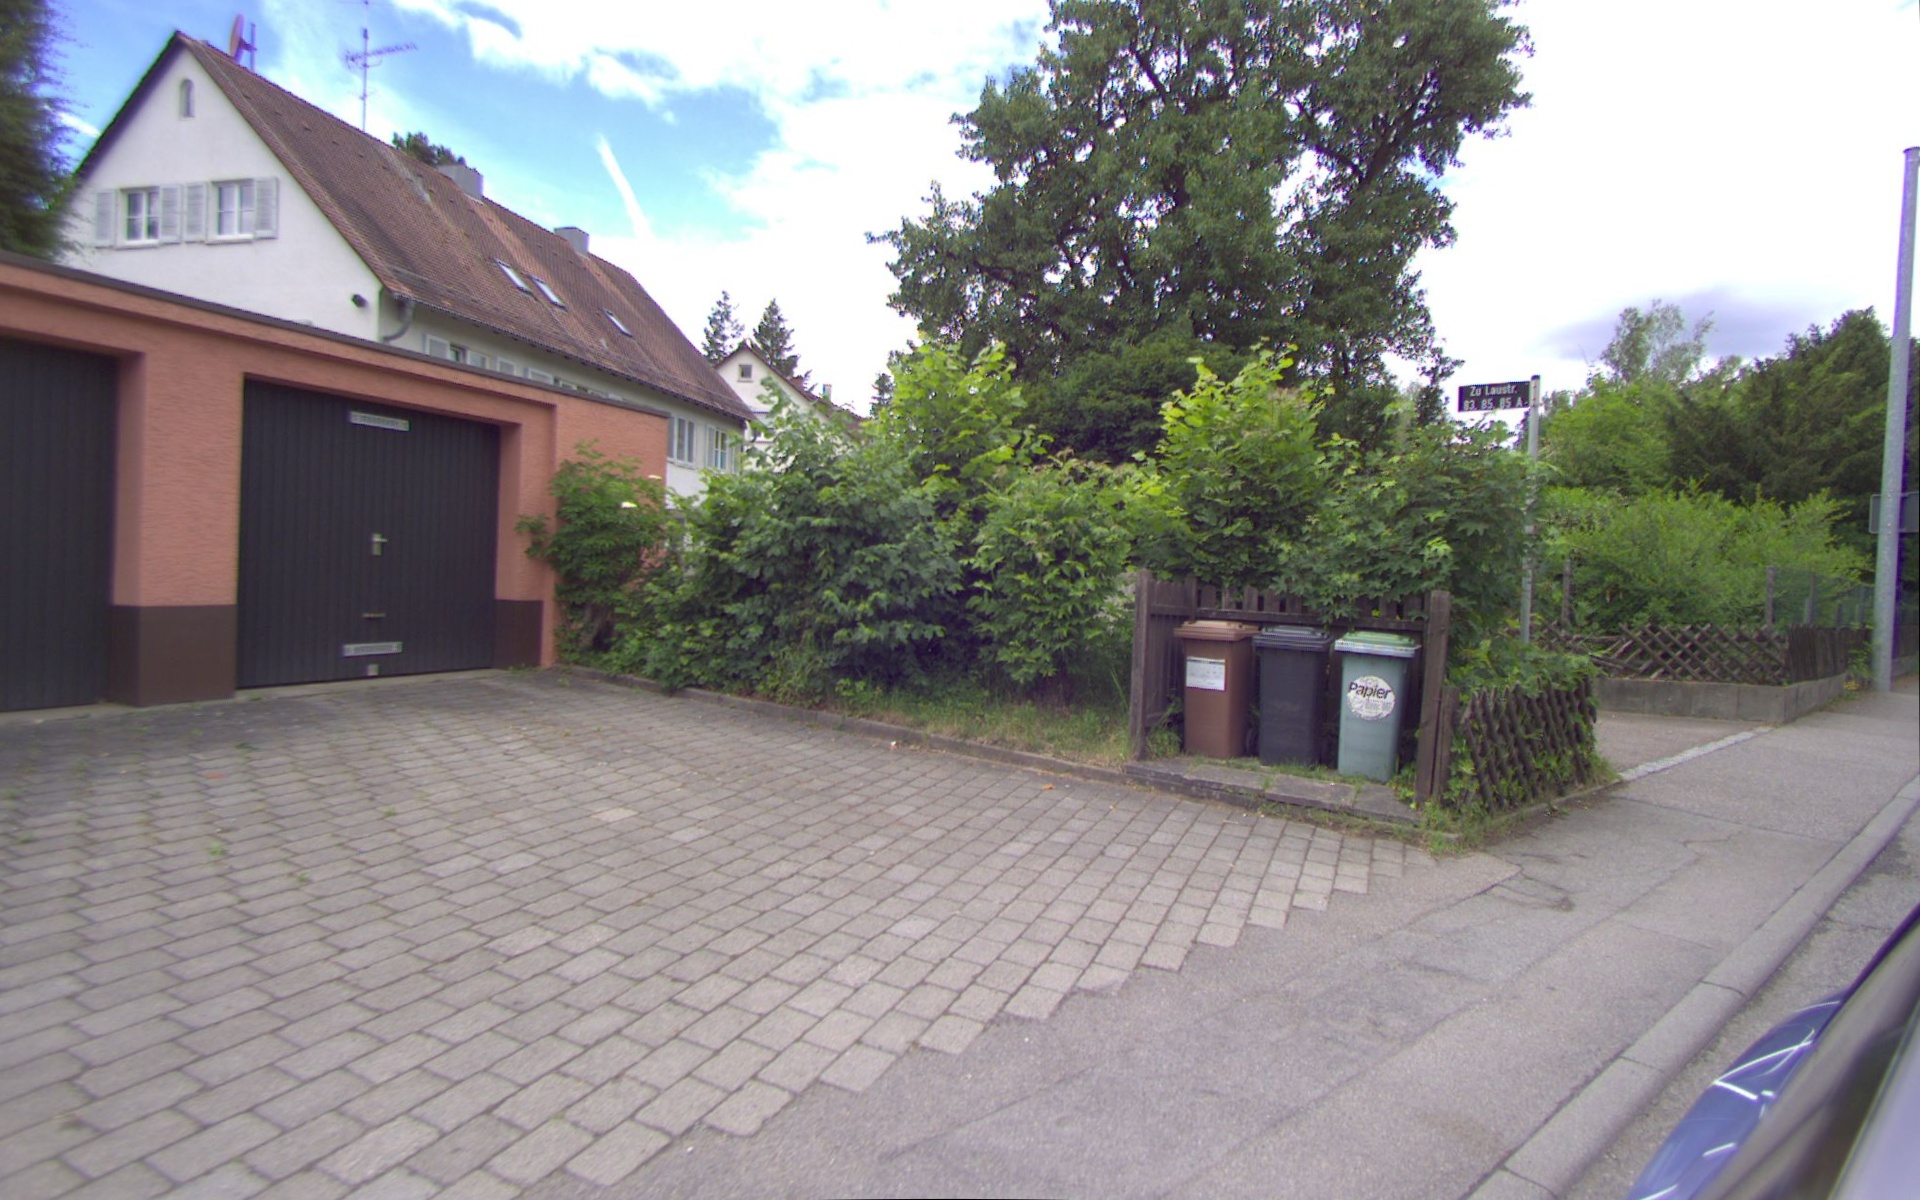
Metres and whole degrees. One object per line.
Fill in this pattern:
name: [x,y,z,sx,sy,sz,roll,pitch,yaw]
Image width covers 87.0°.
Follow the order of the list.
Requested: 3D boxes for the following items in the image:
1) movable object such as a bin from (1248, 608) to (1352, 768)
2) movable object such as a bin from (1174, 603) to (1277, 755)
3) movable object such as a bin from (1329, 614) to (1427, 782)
movable object such as a bin: [2.301,0.561,6.830,0.445,0.967,0.678,6,3,32]
movable object such as a bin: [1.879,0.526,7.134,0.445,0.967,0.678,6,3,32]
movable object such as a bin: [2.726,0.607,6.580,0.444,0.967,0.679,6,3,28]
